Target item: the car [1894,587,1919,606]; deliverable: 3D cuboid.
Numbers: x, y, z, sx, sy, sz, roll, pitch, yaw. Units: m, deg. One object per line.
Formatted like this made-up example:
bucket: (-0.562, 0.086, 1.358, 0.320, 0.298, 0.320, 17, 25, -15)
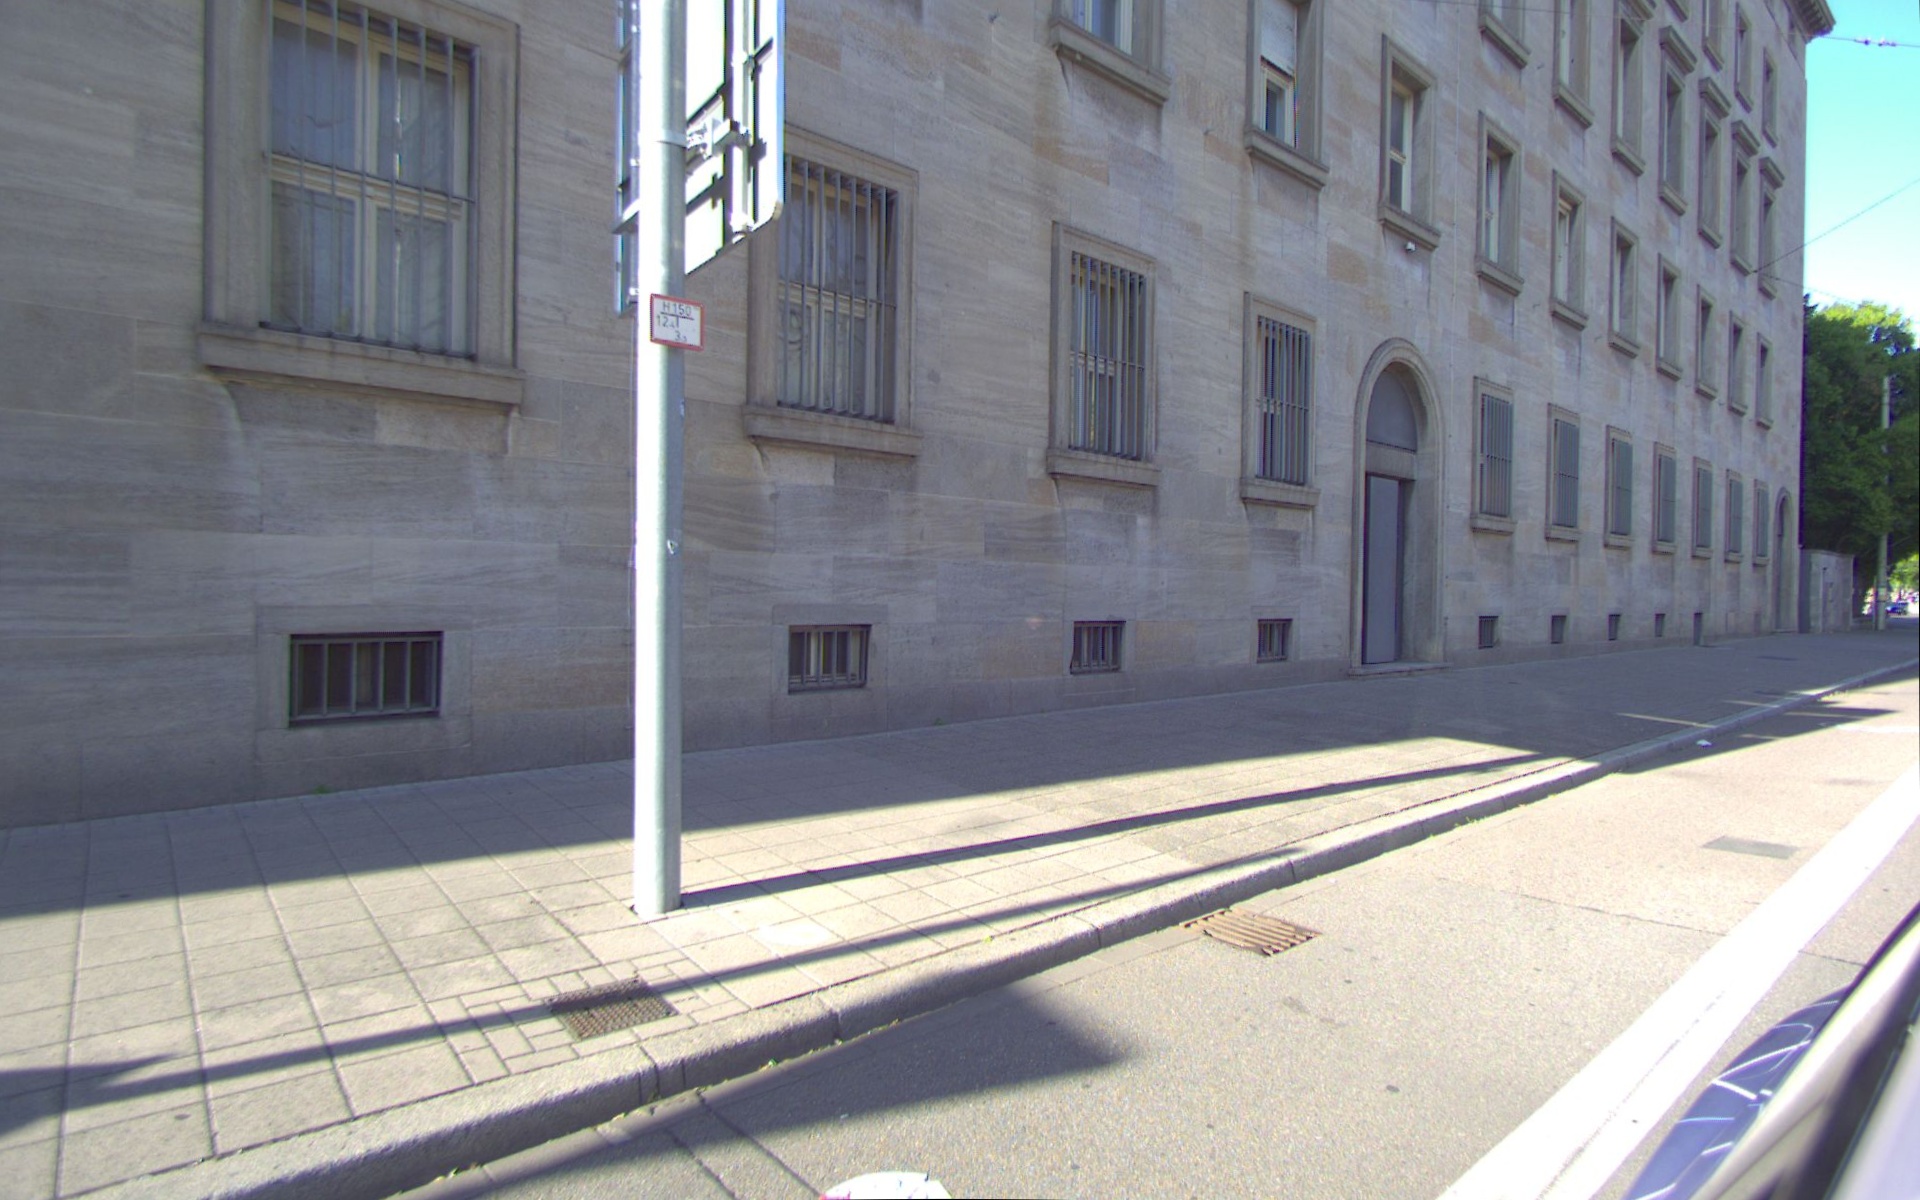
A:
car: (106.741, -0.369, 113.873, 1.990, 2.039, 3.945, 2, 1, 38)
